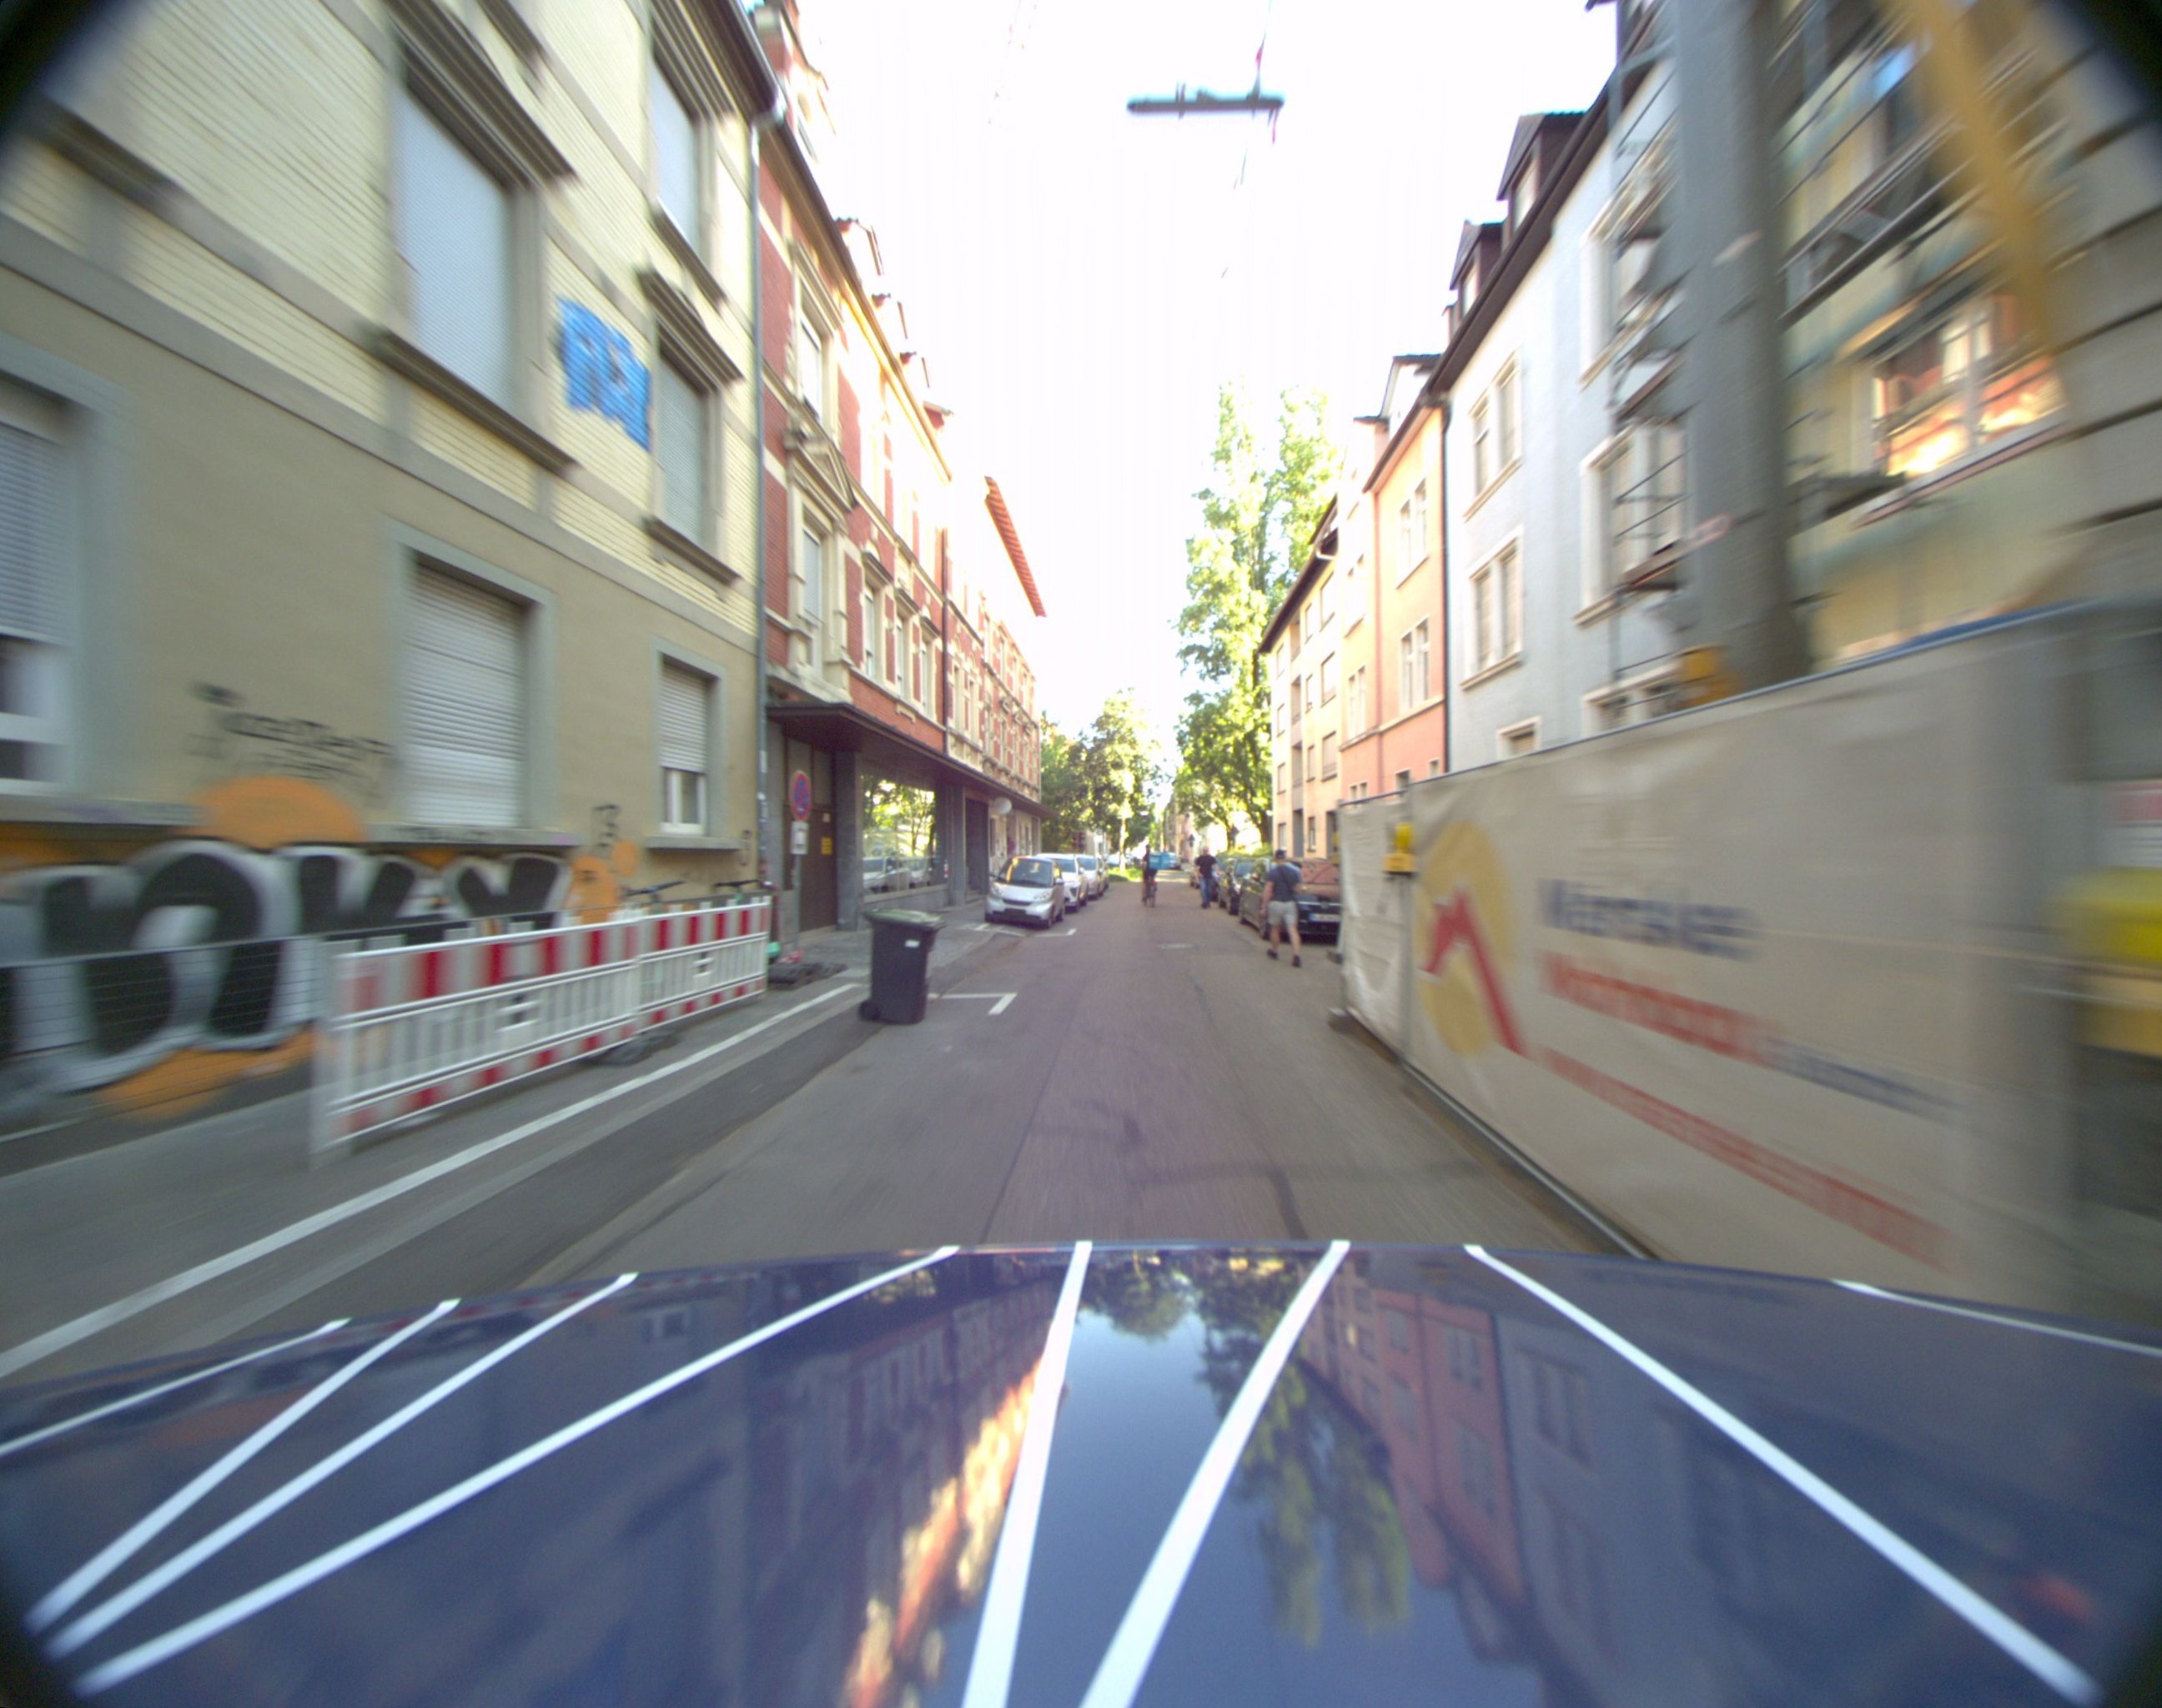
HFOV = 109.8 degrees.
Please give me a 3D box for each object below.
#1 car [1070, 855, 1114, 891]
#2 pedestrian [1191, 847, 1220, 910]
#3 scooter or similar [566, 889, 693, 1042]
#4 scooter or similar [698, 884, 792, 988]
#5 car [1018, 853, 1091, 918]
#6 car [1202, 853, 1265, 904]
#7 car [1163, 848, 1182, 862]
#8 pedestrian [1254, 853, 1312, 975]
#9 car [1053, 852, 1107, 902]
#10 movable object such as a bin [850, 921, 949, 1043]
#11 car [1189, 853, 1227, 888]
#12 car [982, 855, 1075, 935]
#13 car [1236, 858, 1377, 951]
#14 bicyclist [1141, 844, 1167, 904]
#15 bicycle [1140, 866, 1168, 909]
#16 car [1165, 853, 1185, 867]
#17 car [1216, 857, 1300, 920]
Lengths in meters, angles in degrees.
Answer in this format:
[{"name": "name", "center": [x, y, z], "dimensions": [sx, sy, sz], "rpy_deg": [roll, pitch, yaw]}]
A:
[{"name": "car", "center": [0.561, 0.823, 34.131], "dimensions": [1.646, 1.442, 4.167], "rpy_deg": [-2, 0, 5]}, {"name": "pedestrian", "center": [3.545, 0.675, 21.641], "dimensions": [0.739, 1.743, 0.998], "rpy_deg": [0, 1, 5]}, {"name": "scooter or similar", "center": [-4.225, 0.993, 7.215], "dimensions": [0.456, 1.203, 1.443], "rpy_deg": [3, 1, -7]}, {"name": "scooter or similar", "center": [-4.197, 0.984, 9.585], "dimensions": [0.389, 1.137, 1.444], "rpy_deg": [4, 1, 4]}, {"name": "car", "center": [-0.671, 0.838, 22.208], "dimensions": [1.603, 1.652, 4.061], "rpy_deg": [-2, 0, 5]}, {"name": "car", "center": [5.138, 0.759, 26.048], "dimensions": [1.646, 1.565, 4.250], "rpy_deg": [1, 0, 5]}, {"name": "car", "center": [10.728, 0.092, 89.385], "dimensions": [2.167, 1.508, 5.378], "rpy_deg": [1, 0, 6]}, {"name": "pedestrian", "center": [2.826, 0.813, 10.693], "dimensions": [0.594, 1.634, 0.813], "rpy_deg": [2, 1, 4]}, {"name": "car", "center": [0.030, 0.784, 27.716], "dimensions": [1.603, 1.626, 3.776], "rpy_deg": [-2, 0, 5]}, {"name": "movable object such as a bin", "center": [-1.742, 1.210, 7.377], "dimensions": [0.742, 1.051, 0.687], "rpy_deg": [1, 1, 5]}, {"name": "car", "center": [5.902, 0.724, 35.540], "dimensions": [1.464, 1.512, 3.662], "rpy_deg": [1, 0, 5]}, {"name": "car", "center": [-1.138, 0.876, 17.913], "dimensions": [1.525, 1.525, 3.464], "rpy_deg": [6, 1, 5]}, {"name": "car", "center": [4.296, 0.864, 15.215], "dimensions": [1.770, 1.500, 4.698], "rpy_deg": [1, 0, 5]}, {"name": "bicyclist", "center": [2.115, 0.565, 22.067], "dimensions": [0.666, 1.668, 0.893], "rpy_deg": [2, 1, 2]}, {"name": "bicycle", "center": [2.110, 0.951, 22.271], "dimensions": [0.688, 1.151, 1.847], "rpy_deg": [2, 1, 2]}, {"name": "car", "center": [9.341, 0.548, 75.773], "dimensions": [1.759, 1.293, 4.250], "rpy_deg": [1, 0, 5]}, {"name": "car", "center": [4.723, 0.853, 20.714], "dimensions": [1.646, 1.483, 4.001], "rpy_deg": [-1, 0, 5]}]
